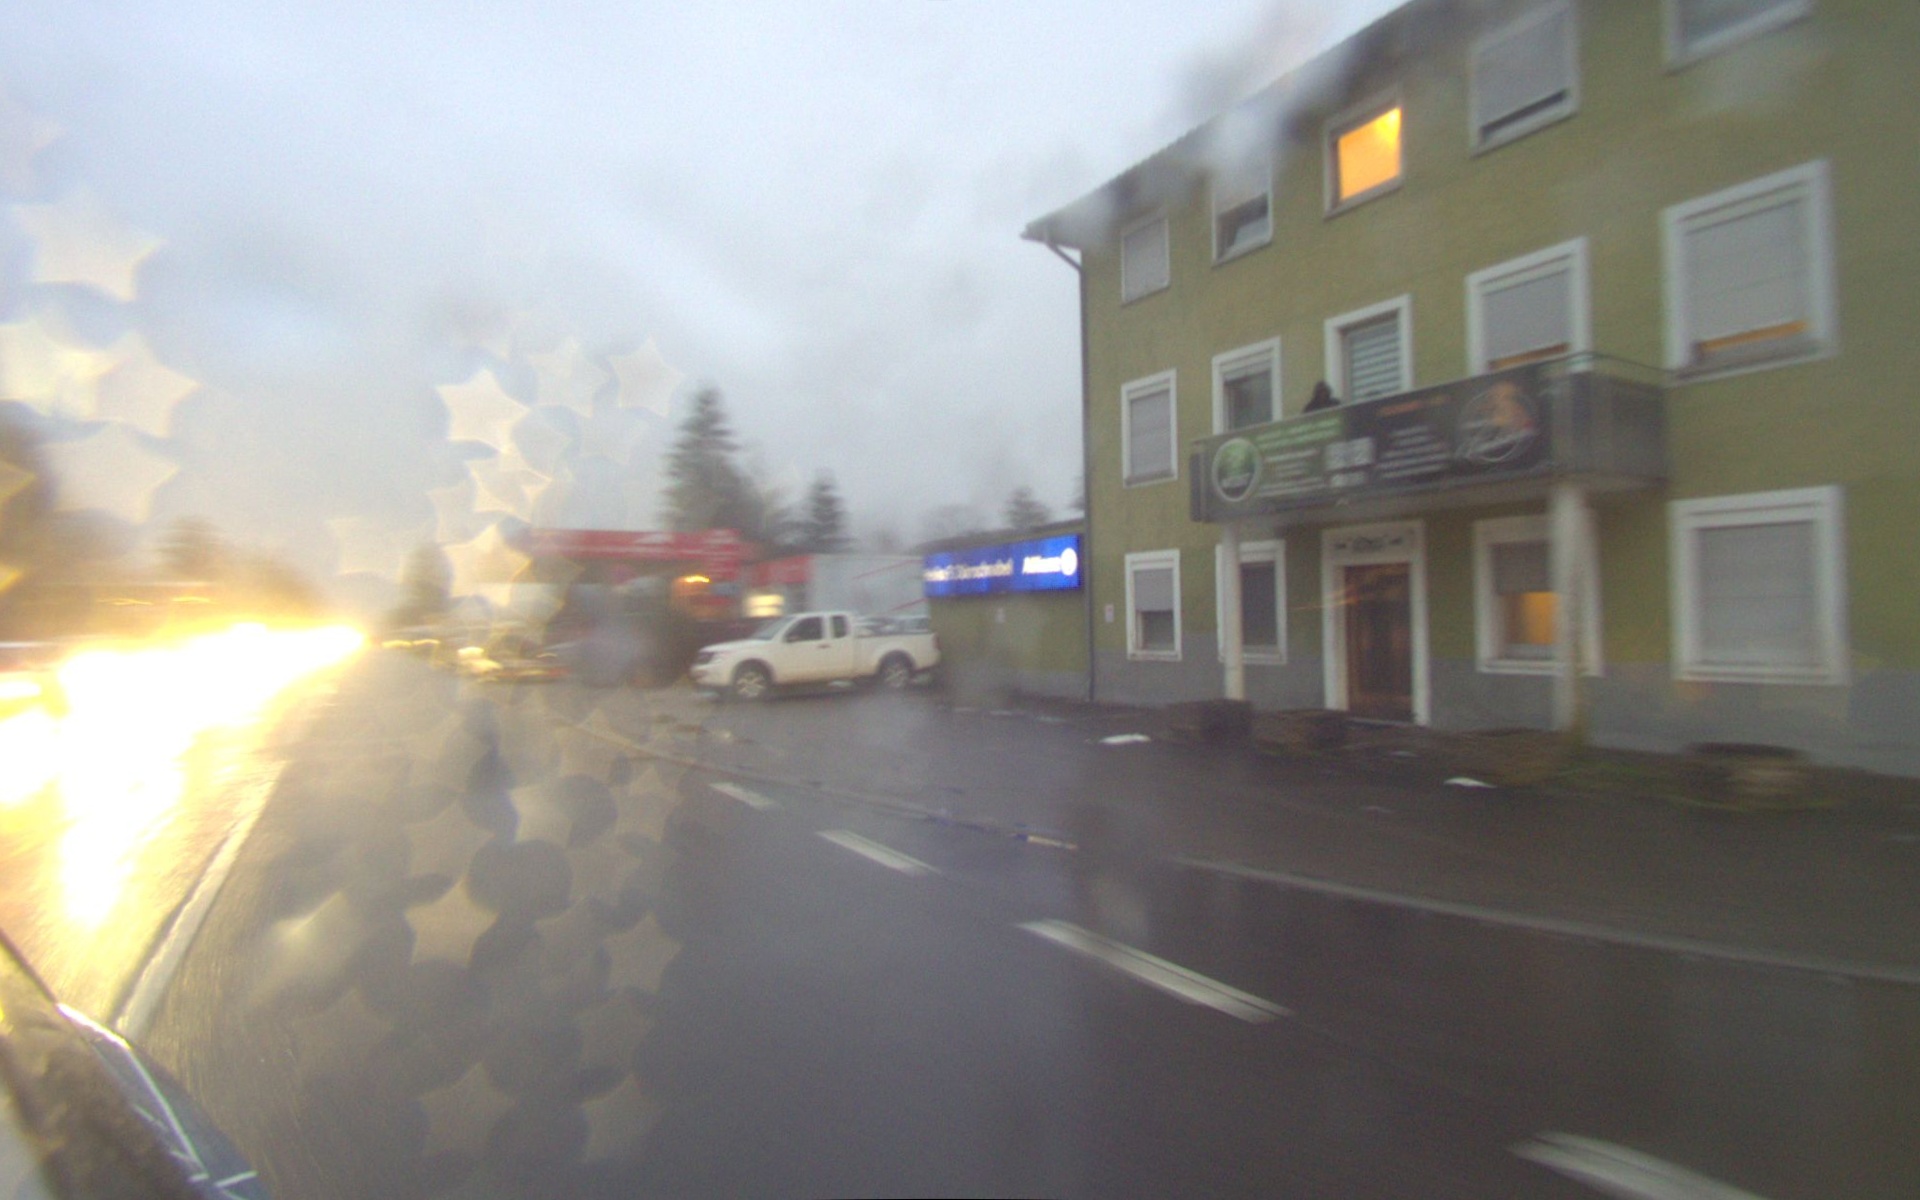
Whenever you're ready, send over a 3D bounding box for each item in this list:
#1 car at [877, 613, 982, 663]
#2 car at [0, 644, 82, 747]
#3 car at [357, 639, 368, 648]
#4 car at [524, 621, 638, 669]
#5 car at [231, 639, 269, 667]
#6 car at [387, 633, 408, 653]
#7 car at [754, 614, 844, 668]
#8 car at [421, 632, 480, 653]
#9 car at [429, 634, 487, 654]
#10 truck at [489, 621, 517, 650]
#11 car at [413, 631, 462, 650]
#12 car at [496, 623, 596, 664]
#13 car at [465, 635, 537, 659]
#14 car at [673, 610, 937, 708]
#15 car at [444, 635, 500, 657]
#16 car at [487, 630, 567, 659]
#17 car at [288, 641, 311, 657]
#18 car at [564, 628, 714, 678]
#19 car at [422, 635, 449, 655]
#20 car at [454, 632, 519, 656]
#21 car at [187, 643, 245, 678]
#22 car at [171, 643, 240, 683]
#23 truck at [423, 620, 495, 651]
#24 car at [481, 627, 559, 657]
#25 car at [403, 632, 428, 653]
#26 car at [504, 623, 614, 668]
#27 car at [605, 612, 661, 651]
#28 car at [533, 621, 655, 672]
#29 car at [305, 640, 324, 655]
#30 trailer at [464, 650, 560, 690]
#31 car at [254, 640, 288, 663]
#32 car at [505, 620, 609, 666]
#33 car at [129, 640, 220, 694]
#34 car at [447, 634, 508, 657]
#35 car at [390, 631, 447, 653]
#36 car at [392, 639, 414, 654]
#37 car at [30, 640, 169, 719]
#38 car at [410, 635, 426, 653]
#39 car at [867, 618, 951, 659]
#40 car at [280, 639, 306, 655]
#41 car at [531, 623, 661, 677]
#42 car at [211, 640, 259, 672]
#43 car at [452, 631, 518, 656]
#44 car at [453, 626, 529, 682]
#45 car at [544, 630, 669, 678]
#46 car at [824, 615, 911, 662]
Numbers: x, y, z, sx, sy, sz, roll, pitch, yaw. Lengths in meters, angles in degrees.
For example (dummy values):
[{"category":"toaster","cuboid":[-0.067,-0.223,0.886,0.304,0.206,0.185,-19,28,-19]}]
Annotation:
[{"category":"car","cuboid":[-1.134,1.332,35.668,1.966,1.637,4.011,0,-2,-32]},{"category":"car","cuboid":[-15.712,1.492,16.295,1.639,1.450,4.394,-1,-1,-31]},{"category":"car","cuboid":[-103.815,7.504,175.754,1.581,1.546,4.011,2,-3,-32]},{"category":"car","cuboid":[-16.212,1.897,43.314,4.218,1.675,2.143,-4,0,-31]},{"category":"car","cuboid":[-42.391,3.125,60.475,1.543,1.540,4.018,-1,-1,-31]},{"category":"car","cuboid":[-58.386,4.457,105.008,1.809,2.029,4.497,-1,-2,-29]},{"category":"car","cuboid":[-6.127,1.513,38.130,1.966,1.918,4.011,0,-2,-32]},{"category":"car","cuboid":[-45.599,3.768,90.580,4.474,1.689,2.015,-1,-2,-35]},{"category":"car","cuboid":[-42.765,3.752,86.281,4.276,1.509,1.831,-1,-2,-31]},{"category":"truck","cuboid":[-56.414,4.375,124.795,2.003,3.481,5.866,3,-4,-35]},{"category":"car","cuboid":[-62.848,4.883,121.764,5.074,2.167,2.064,1,-3,-31]},{"category":"car","cuboid":[-20.354,2.125,49.769,4.218,1.675,2.006,-4,0,-31]},{"category":"car","cuboid":[-27.970,2.846,61.642,3.805,1.356,1.845,-1,-2,-32]},{"category":"car","cuboid":[-3.239,1.160,21.402,5.117,1.804,2.006,0,-1,-29]},{"category":"car","cuboid":[-38.711,3.639,80.291,3.721,1.470,1.781,-2,-1,-34]},{"category":"car","cuboid":[-23.571,2.407,55.113,3.805,1.452,1.845,-1,-2,-32]},{"category":"car","cuboid":[-70.762,5.244,108.407,1.859,1.640,4.012,-1,-2,-31]},{"category":"car","cuboid":[-10.823,1.751,34.196,4.494,1.595,1.925,1,-2,-32]},{"category":"car","cuboid":[-38.585,3.290,74.422,1.659,1.431,3.752,0,-2,-29]},{"category":"car","cuboid":[-32.120,2.991,68.658,3.805,1.420,1.949,-2,-1,-32]},{"category":"car","cuboid":[-33.264,2.656,45.355,1.618,1.377,4.783,-1,-1,-31]},{"category":"car","cuboid":[-28.327,2.330,38.111,1.630,1.346,4.284,-1,-2,-31]},{"category":"truck","cuboid":[-54.784,3.856,110.720,6.765,3.166,2.341,0,-2,-33]},{"category":"car","cuboid":[-24.942,2.366,57.357,3.805,1.571,1.845,-1,-2,-32]},{"category":"car","cuboid":[-41.528,3.270,77.133,1.497,1.555,3.024,1,-3,-31]},{"category":"car","cuboid":[-17.877,1.996,45.110,4.218,1.675,2.006,-4,0,-31]},{"category":"car","cuboid":[-16.802,1.611,51.872,1.860,1.883,4.011,0,-2,-32]},{"category":"car","cuboid":[-14.747,1.832,40.800,4.218,1.675,2.006,-4,0,-31]},{"category":"car","cuboid":[-75.449,5.558,118.247,1.859,1.640,4.011,-1,-2,-33]},{"category":"trailer","cuboid":[-13.798,2.077,30.940,1.966,1.047,6.121,1,-2,-31]},{"category":"car","cuboid":[-50.142,3.722,73.624,1.984,1.504,4.009,-1,-2,-36]},{"category":"car","cuboid":[-18.966,1.995,47.639,4.218,1.777,2.006,-4,0,-31]},{"category":"car","cuboid":[-24.109,2.000,31.177,1.678,1.482,4.284,-2,-1,-31]},{"category":"car","cuboid":[-34.763,3.248,72.937,3.805,1.463,1.845,-2,-1,-32]},{"category":"car","cuboid":[-66.955,5.147,125.232,6.071,2.652,2.182,1,-3,-31]},{"category":"car","cuboid":[-55.057,4.613,100.024,1.548,1.331,4.268,2,-1,-33]},{"category":"car","cuboid":[-20.449,1.812,24.246,1.811,1.580,4.517,-2,-1,-31]},{"category":"car","cuboid":[-52.185,4.243,97.471,1.155,1.657,2.879,0,-2,-23]},{"category":"car","cuboid":[-2.080,1.517,40.309,1.711,1.541,3.917,0,-2,-31]},{"category":"car","cuboid":[-64.593,4.535,97.942,1.984,1.504,4.009,0,-2,-36]},{"category":"car","cuboid":[-13.671,1.832,38.053,4.218,1.639,2.006,-4,0,-31]},{"category":"car","cuboid":[-38.624,2.970,54.015,1.684,1.588,4.477,0,-2,-31]},{"category":"car","cuboid":[-33.221,3.046,70.753,3.975,1.566,1.829,-2,-2,-32]},{"category":"car","cuboid":[-16.533,1.852,35.569,1.943,1.844,4.525,1,-2,-31]},{"category":"car","cuboid":[-12.436,1.864,35.631,3.840,1.439,1.725,-2,-1,-30]},{"category":"car","cuboid":[-3.668,1.481,39.328,1.772,1.636,4.012,-2,-1,-30]}]
